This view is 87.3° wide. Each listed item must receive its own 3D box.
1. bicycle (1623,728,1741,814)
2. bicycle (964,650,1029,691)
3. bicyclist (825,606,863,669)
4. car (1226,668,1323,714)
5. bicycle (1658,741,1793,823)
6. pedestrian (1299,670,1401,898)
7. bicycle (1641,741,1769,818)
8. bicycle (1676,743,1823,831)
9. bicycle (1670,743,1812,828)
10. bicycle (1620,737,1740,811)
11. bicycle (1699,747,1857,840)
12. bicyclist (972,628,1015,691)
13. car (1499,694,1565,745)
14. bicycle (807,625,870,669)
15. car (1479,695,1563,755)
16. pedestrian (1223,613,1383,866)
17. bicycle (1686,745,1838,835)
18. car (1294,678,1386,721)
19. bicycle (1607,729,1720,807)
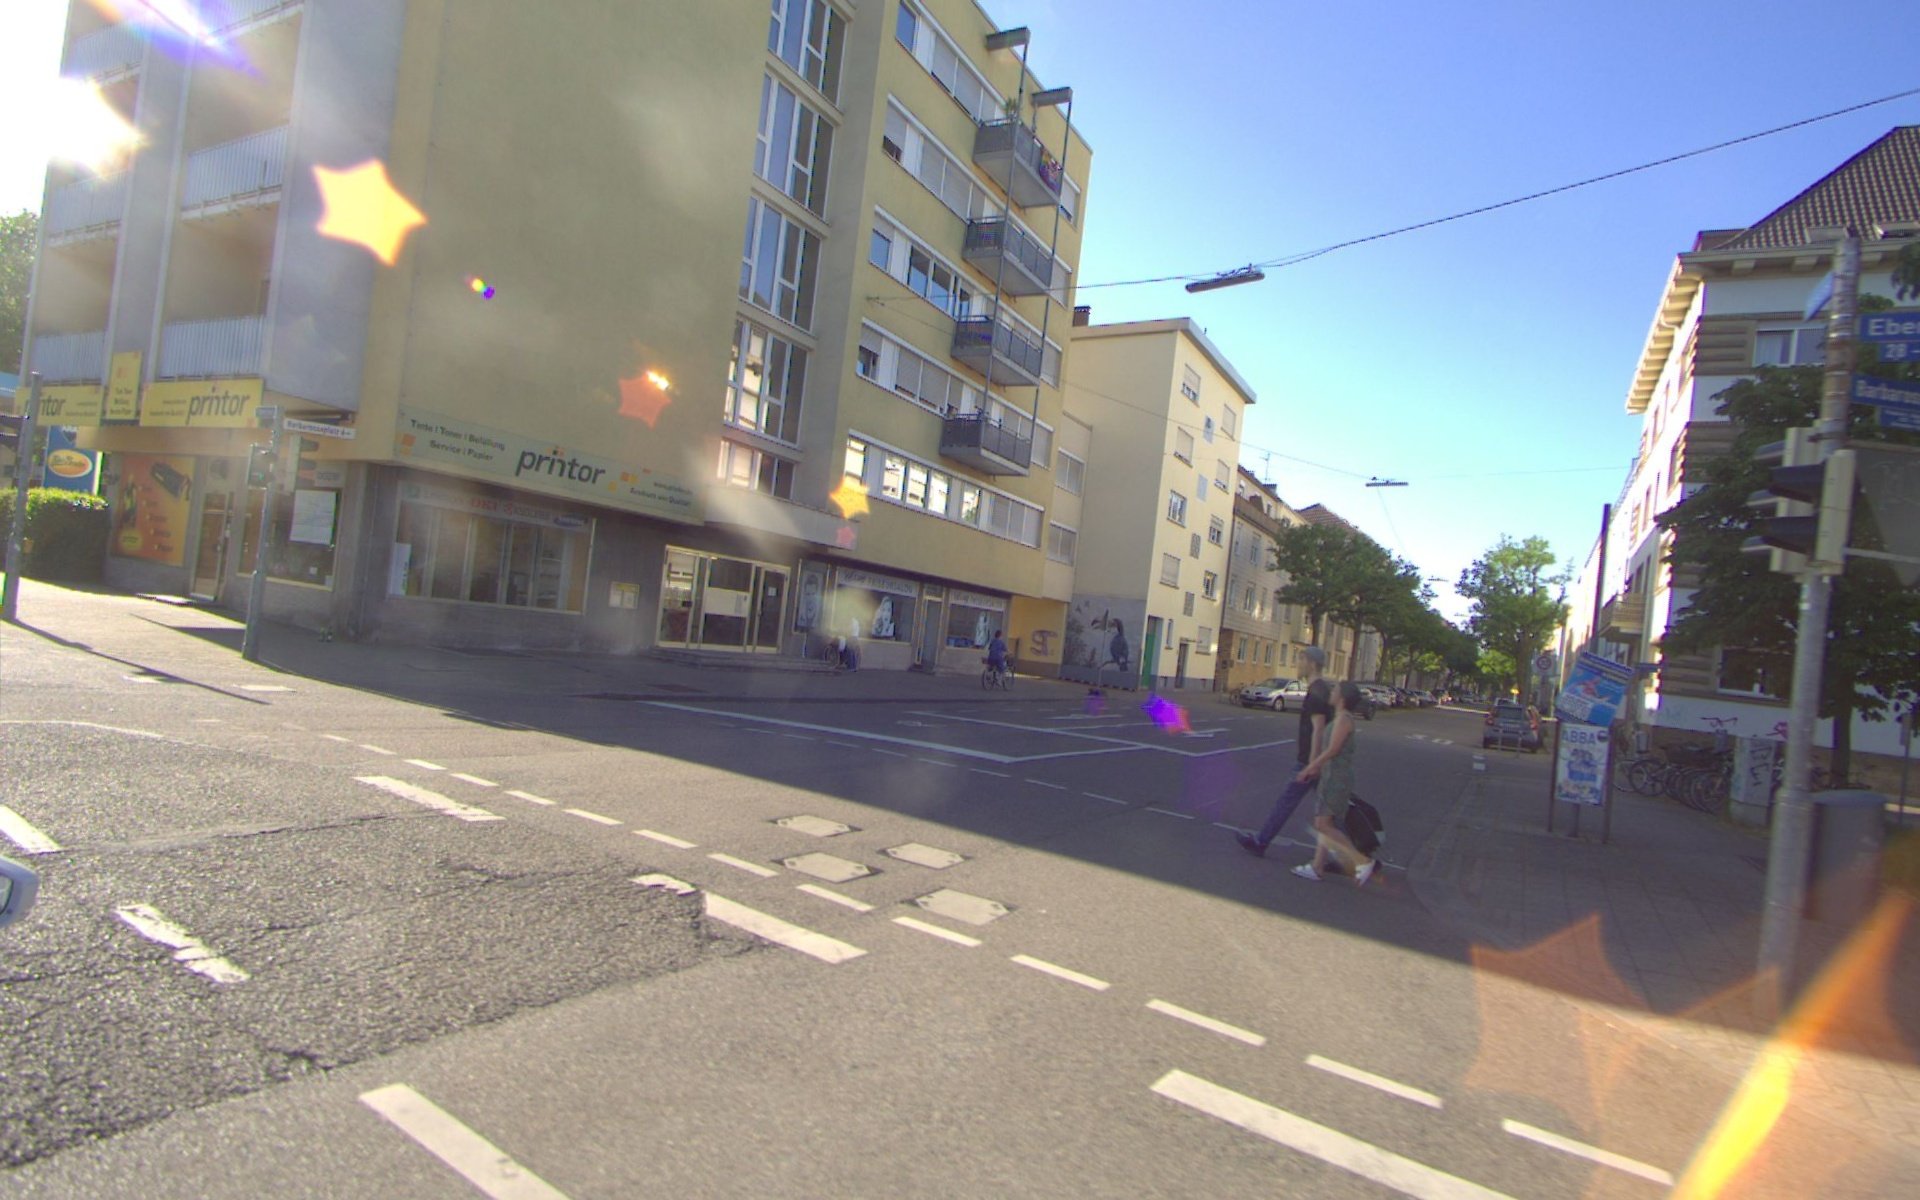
[{"bbox_3d":[14.709,3.472,20.546,1.798,1.404,0.432,7,0,31],"label":"bicycle"},{"bbox_3d":[1.121,2.137,30.286,0.833,1.062,2.267,6,-2,33],"label":"bicycle"},{"bbox_3d":[-3.330,1.075,28.852,0.628,1.700,0.684,7,0,28],"label":"bicyclist"},{"bbox_3d":[13.727,3.974,43.829,4.136,1.525,1.899,8,-2,-38],"label":"car"},{"bbox_3d":[13.654,3.226,17.999,1.798,1.108,0.365,7,0,31],"label":"bicycle"},{"bbox_3d":[2.883,1.332,7.479,0.509,1.566,0.505,6,1,15],"label":"pedestrian"},{"bbox_3d":[13.982,3.355,18.929,1.798,1.108,0.365,7,0,31],"label":"bicycle"},{"bbox_3d":[13.203,3.116,16.884,1.798,1.108,0.365,7,0,31],"label":"bicycle"},{"bbox_3d":[13.436,3.172,17.364,1.798,1.108,0.365,7,0,31],"label":"bicycle"},{"bbox_3d":[14.241,3.427,19.945,1.798,1.108,0.365,7,0,31],"label":"bicycle"},{"bbox_3d":[12.848,3.022,15.862,1.798,1.108,0.365,7,0,31],"label":"bicycle"},{"bbox_3d":[1.000,1.772,30.021,0.804,1.736,0.754,8,0,33],"label":"bicyclist"},{"bbox_3d":[22.196,4.621,38.956,1.665,1.670,3.989,6,-2,36],"label":"car"},{"bbox_3d":[-3.439,1.355,28.691,0.631,1.071,2.086,7,-2,27],"label":"bicycle"},{"bbox_3d":[19.459,4.295,34.814,1.969,1.670,3.989,6,-2,36],"label":"car"},{"bbox_3d":[2.755,1.081,8.205,1.014,1.851,0.789,6,1,15],"label":"pedestrian"},{"bbox_3d":[13.042,3.075,16.417,1.798,1.108,0.365,7,0,31],"label":"bicycle"},{"bbox_3d":[17.617,4.616,46.598,4.189,1.537,1.980,8,-2,-38],"label":"car"},{"bbox_3d":[14.809,3.513,21.227,1.798,1.301,0.432,7,0,31],"label":"bicycle"}]
